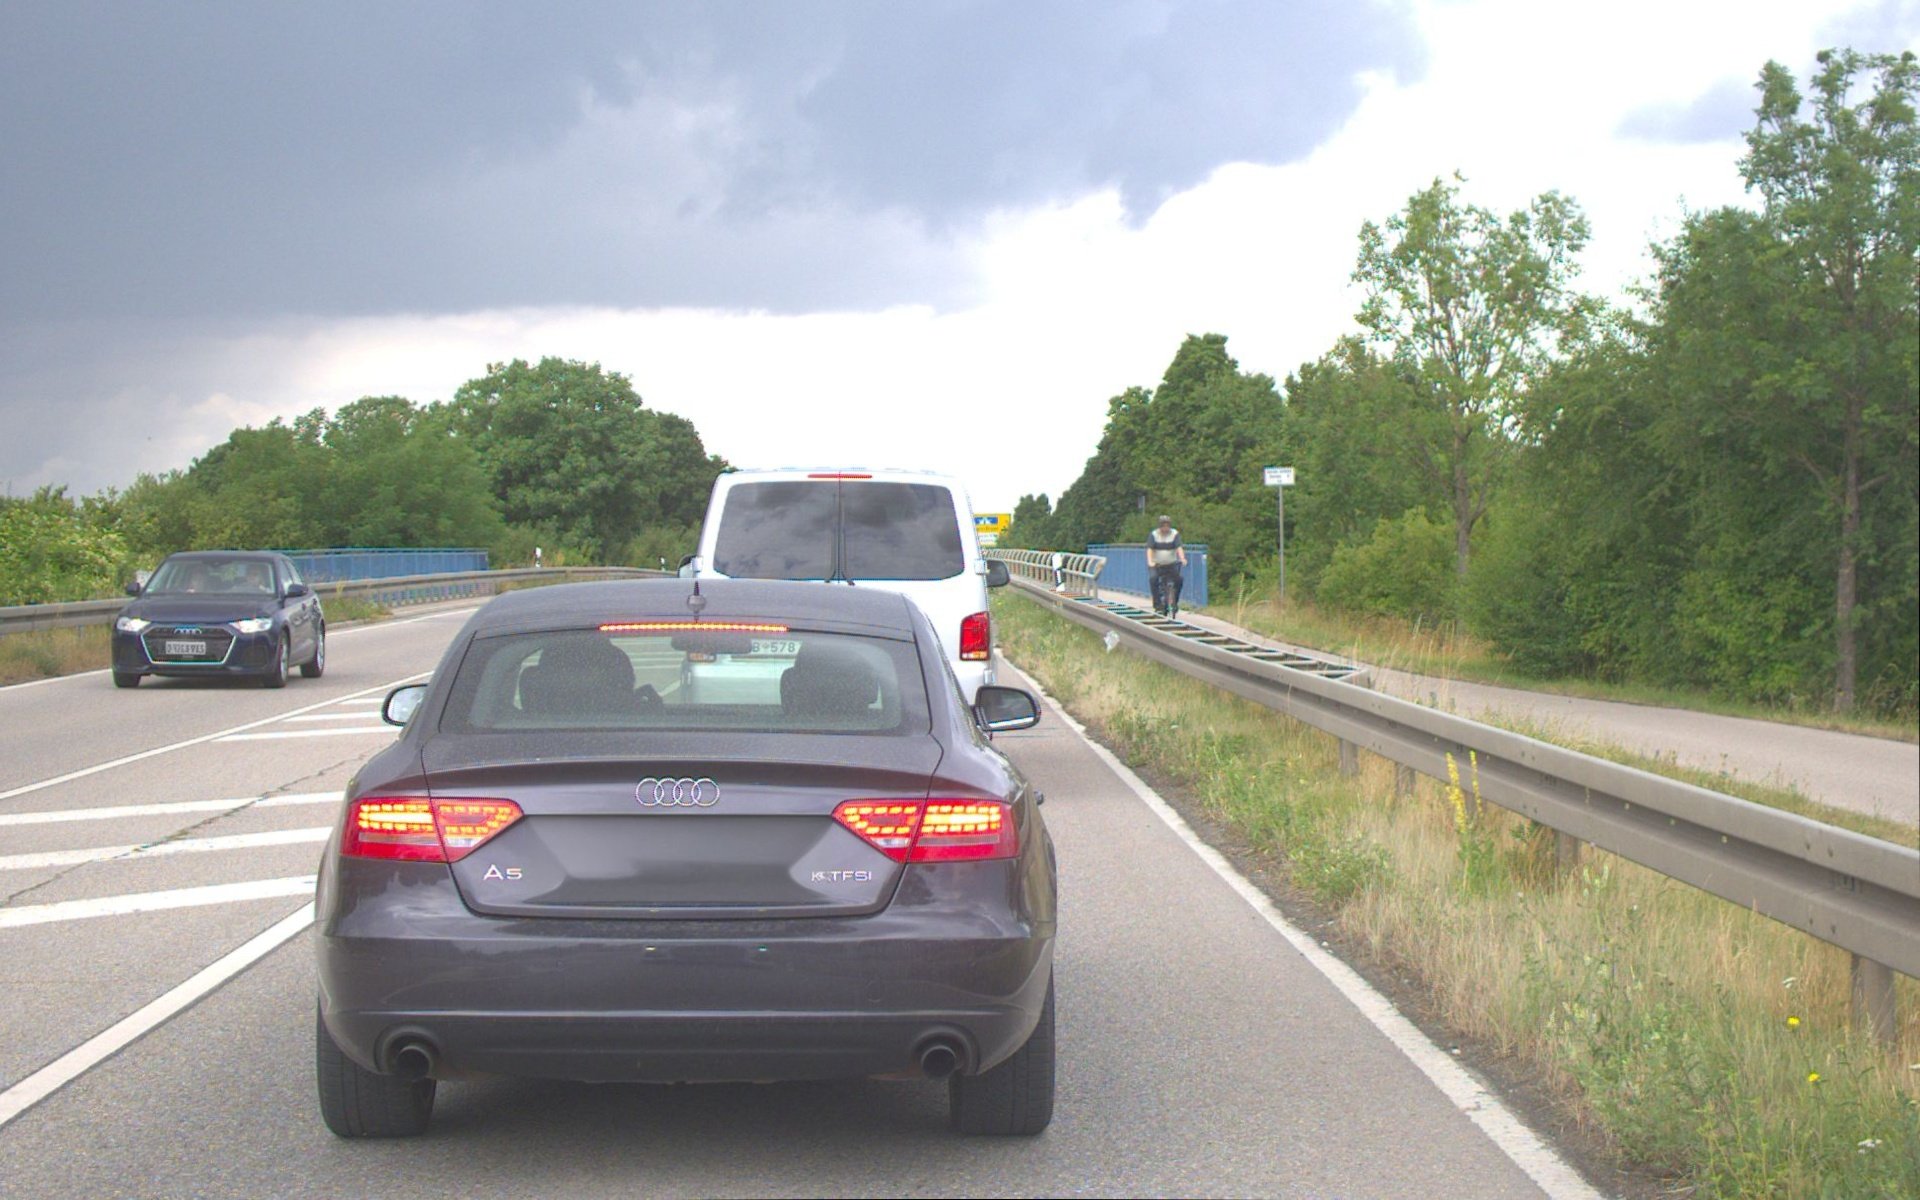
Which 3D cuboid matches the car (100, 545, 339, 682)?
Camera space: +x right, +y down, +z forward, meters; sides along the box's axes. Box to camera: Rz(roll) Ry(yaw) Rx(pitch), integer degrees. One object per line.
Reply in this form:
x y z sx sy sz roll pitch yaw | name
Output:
-7.835 0.102 36.697 1.862 1.371 4.001 0 1 -3 | car

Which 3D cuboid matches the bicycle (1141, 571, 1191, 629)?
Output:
3.339 -0.003 55.795 0.666 0.917 1.830 0 1 -1 | bicycle

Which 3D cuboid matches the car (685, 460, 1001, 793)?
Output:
-0.713 0.136 21.663 1.785 1.883 4.000 1 0 -1 | car

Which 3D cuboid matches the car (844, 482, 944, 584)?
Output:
-1.674 -1.717 88.158 2.447 2.495 5.042 1 1 -1 | car

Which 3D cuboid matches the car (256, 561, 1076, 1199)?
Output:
-0.691 0.620 9.580 1.785 1.419 4.000 1 0 -1 | car

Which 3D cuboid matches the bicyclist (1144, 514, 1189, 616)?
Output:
3.342 -0.570 55.694 0.647 1.639 0.866 0 1 -1 | bicyclist
